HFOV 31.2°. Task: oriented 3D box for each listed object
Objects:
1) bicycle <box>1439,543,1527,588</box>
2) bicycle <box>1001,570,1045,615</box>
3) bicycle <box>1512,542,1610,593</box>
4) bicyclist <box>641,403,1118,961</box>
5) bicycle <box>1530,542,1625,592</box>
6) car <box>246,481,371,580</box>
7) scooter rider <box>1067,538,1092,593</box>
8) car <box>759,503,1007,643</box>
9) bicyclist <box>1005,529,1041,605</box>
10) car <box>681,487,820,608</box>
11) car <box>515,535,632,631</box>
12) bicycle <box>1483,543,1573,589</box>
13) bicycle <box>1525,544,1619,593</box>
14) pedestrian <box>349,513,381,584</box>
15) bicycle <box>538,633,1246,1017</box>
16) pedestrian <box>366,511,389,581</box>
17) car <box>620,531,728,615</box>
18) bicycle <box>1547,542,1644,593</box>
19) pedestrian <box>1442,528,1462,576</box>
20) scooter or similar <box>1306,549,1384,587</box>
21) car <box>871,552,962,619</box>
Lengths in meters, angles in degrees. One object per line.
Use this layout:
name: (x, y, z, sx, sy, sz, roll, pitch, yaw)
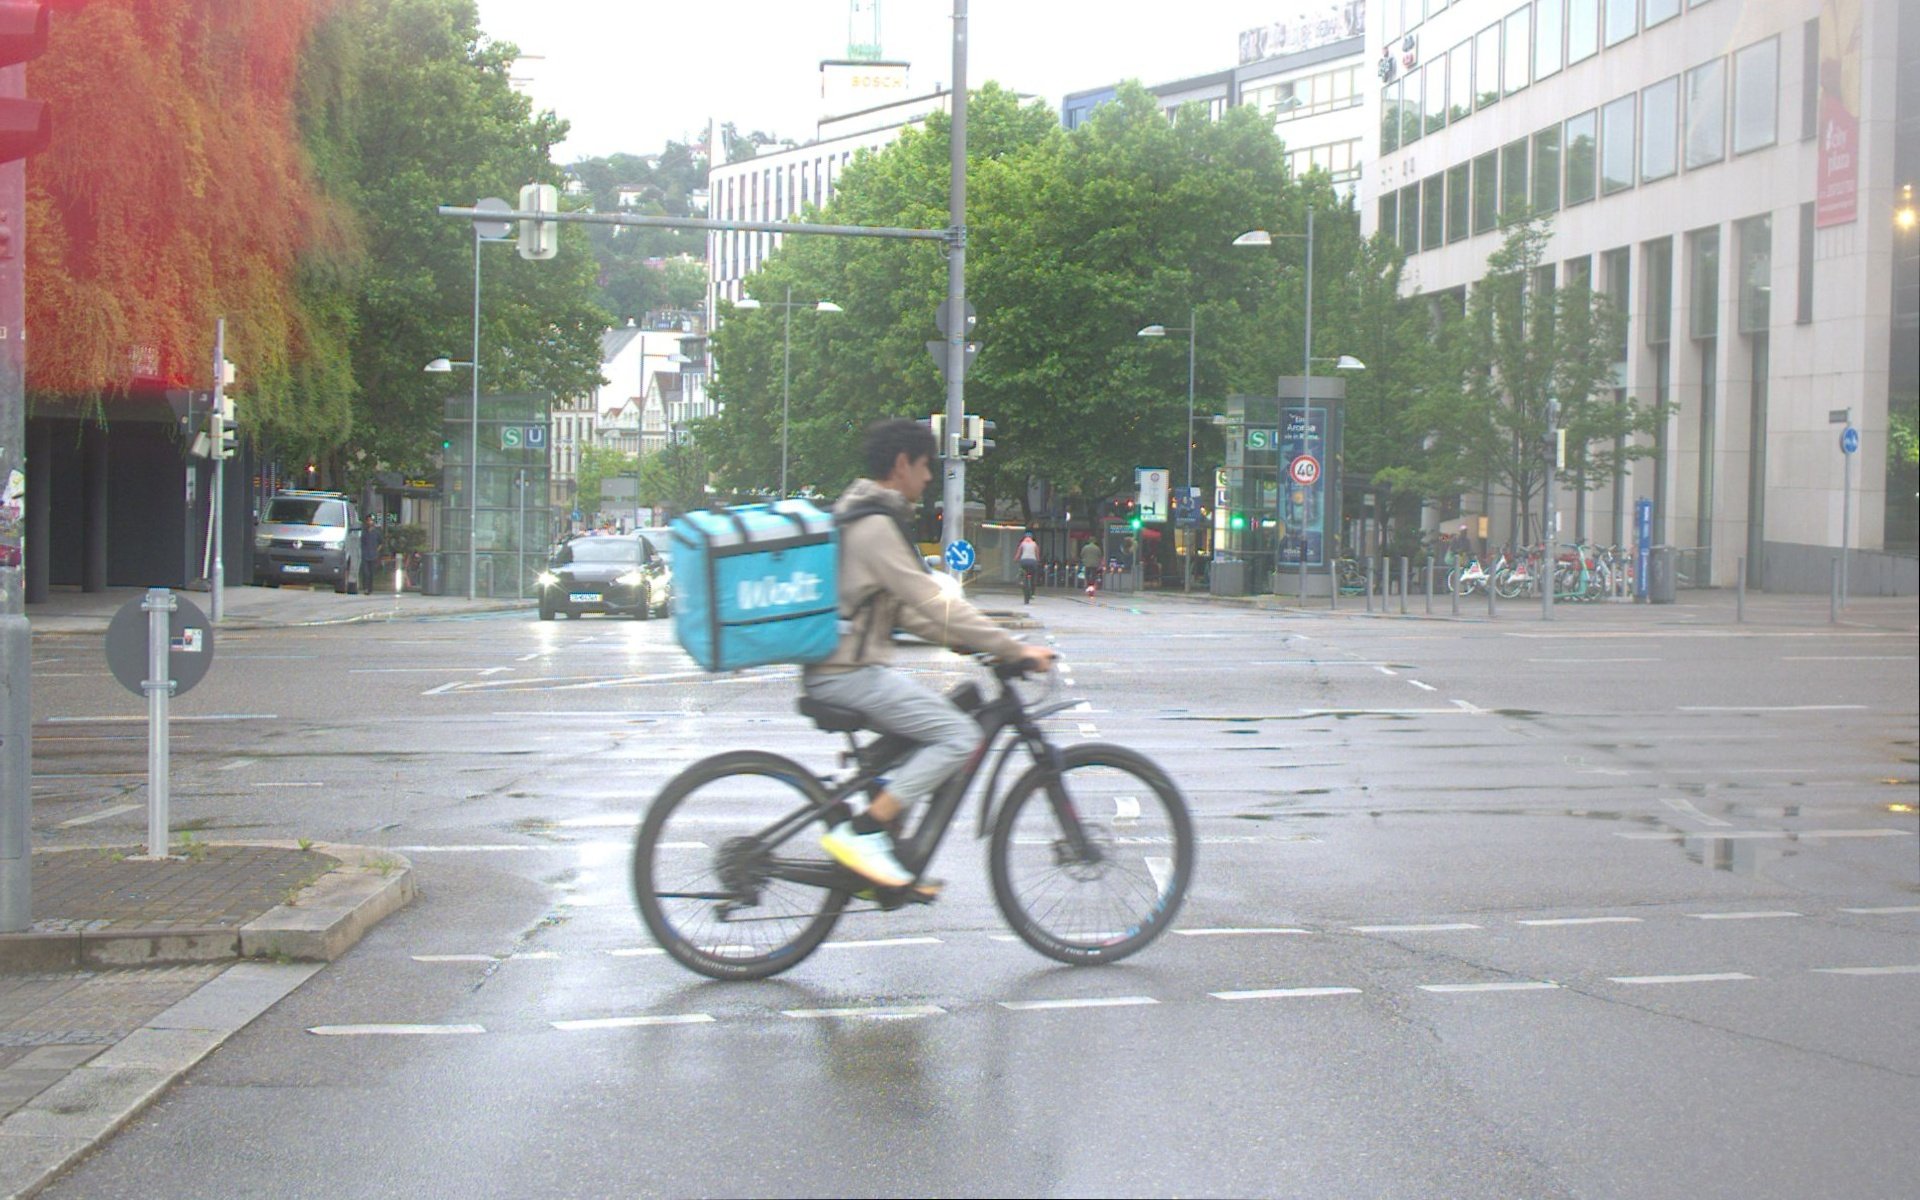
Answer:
bicycle: (11.075, -0.732, 72.847, 1.794, 0.931, 0.475, 0, 1, 3)
bicycle: (1.628, -0.204, 89.512, 0.791, 1.113, 2.256, 0, 1, -8)
bicycle: (11.238, -0.614, 64.318, 1.799, 0.931, 0.474, 1, 2, 41)
bicyclist: (-0.267, 0.237, 11.120, 1.294, 1.698, 0.848, 0, 1, -28)
bicycle: (11.828, -0.642, 65.926, 1.799, 0.931, 0.474, 1, 2, 41)
car: (-12.922, -1.392, 68.395, 1.993, 1.888, 4.466, 0, 1, -5)
scooter rider: (3.873, -1.119, 111.529, 0.762, 1.768, 0.796, 0, 1, 5)
car: (-0.984, -0.365, 40.697, 1.993, 1.481, 4.466, -1, 3, -14)
bicyclist: (1.637, -0.872, 89.503, 0.791, 1.968, 1.114, 0, 1, -7)
car: (-3.115, -0.814, 50.919, 1.963, 1.649, 4.365, 0, 3, -4)
car: (-6.435, -0.314, 57.069, 1.856, 1.443, 4.622, 0, 2, -7)
bicycle: (11.727, -0.698, 70.999, 1.794, 0.931, 0.475, 0, 1, 3)
bicycle: (11.856, -0.617, 66.672, 1.799, 0.931, 0.474, 1, 2, 41)
pedestrian: (-12.777, -1.101, 73.836, 0.607, 1.519, 0.588, 0, 1, -5)
bicycle: (-0.208, 0.681, 11.155, 2.145, 1.099, 0.848, 0, 1, -29)
pedestrian: (-12.558, -1.164, 74.089, 0.436, 1.519, 0.548, 0, 1, -5)
car: (-5.400, -0.535, 64.404, 1.856, 1.443, 4.622, 0, 2, -7)
bicycle: (12.002, -0.626, 64.960, 1.799, 0.931, 0.474, 1, 2, 41)
pedestrian: (12.156, -1.189, 84.871, 0.352, 1.169, 0.415, 0, 1, -15)
scooter or similar: (8.949, -0.737, 79.928, 1.745, 0.875, 0.489, 0, 1, -19)
car: (-1.148, -0.386, 88.248, 1.993, 1.524, 4.557, 0, 3, -5)
